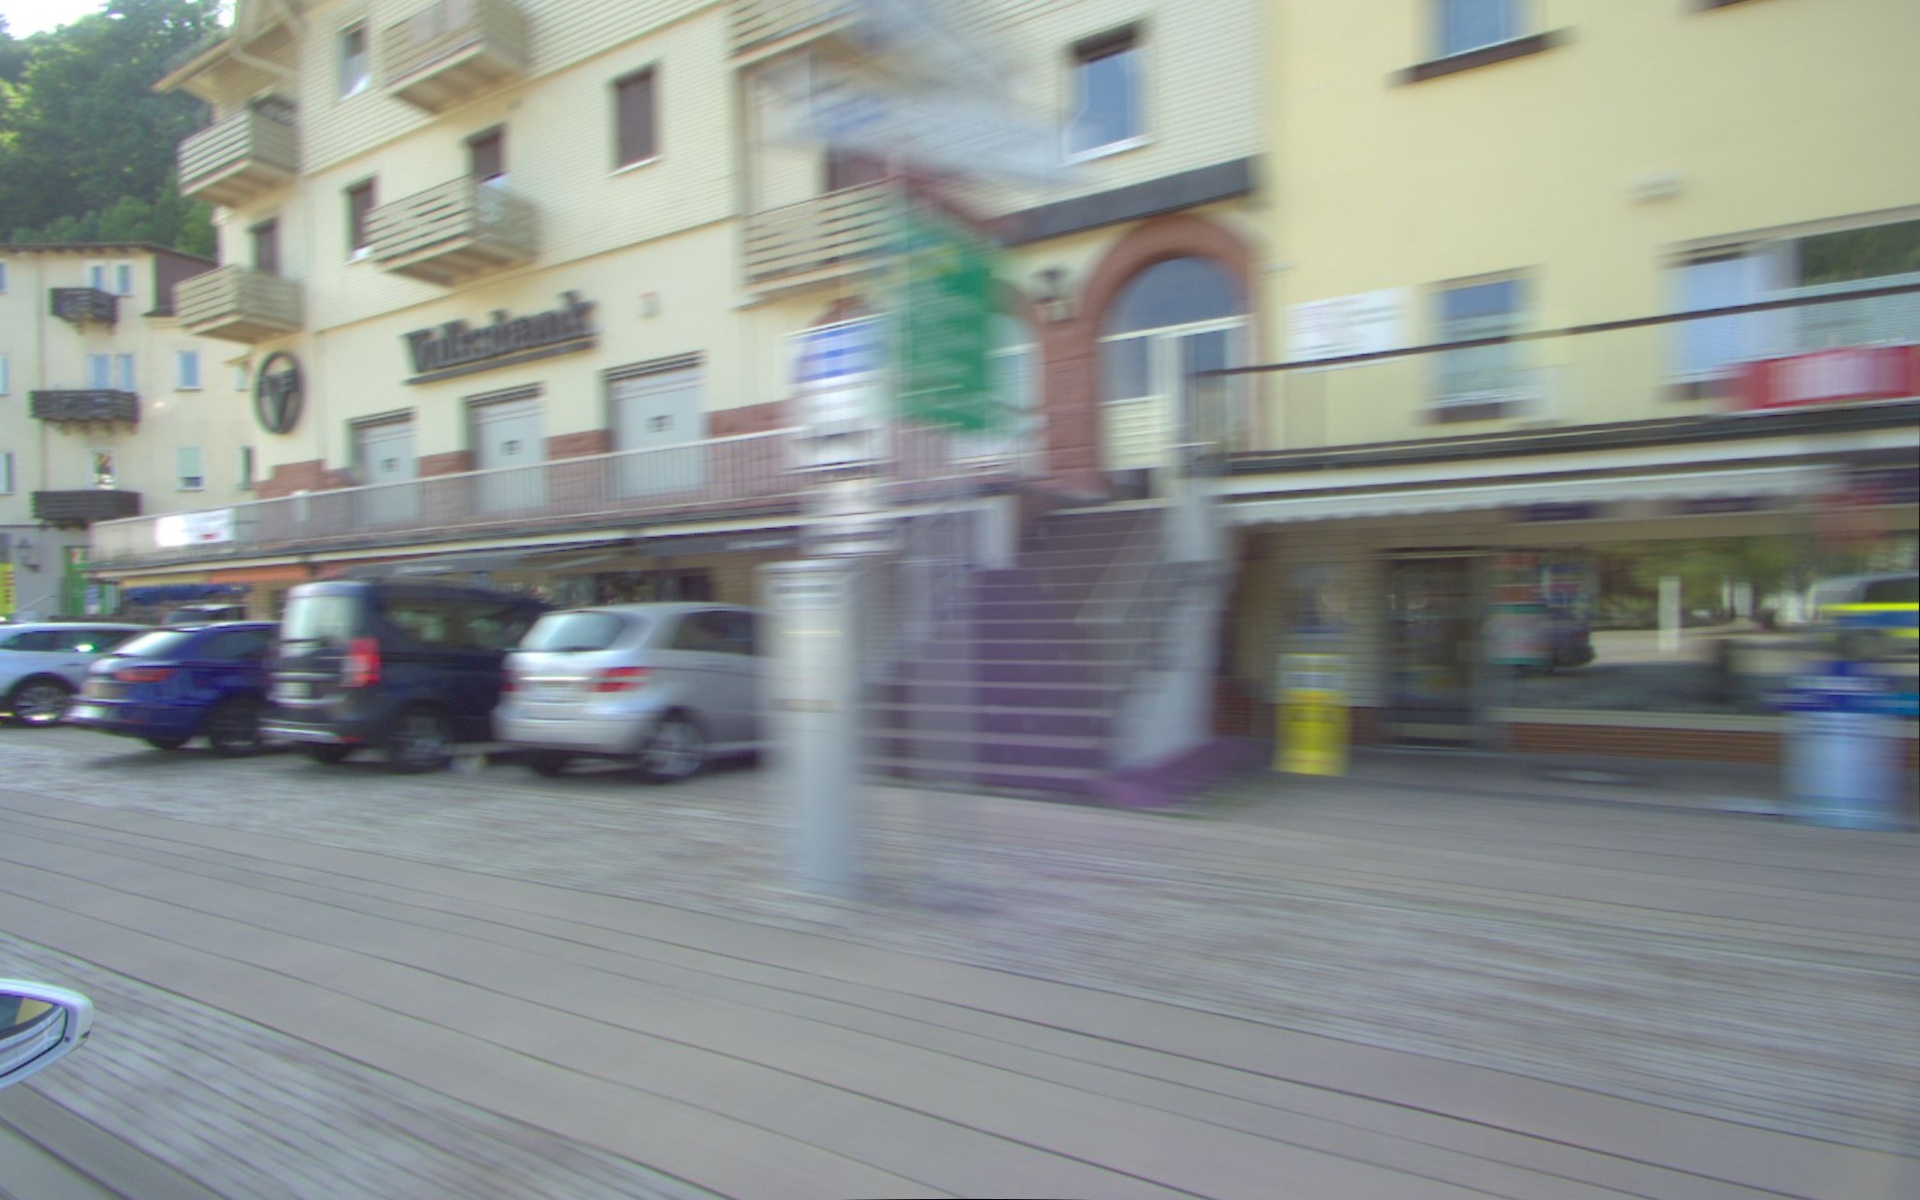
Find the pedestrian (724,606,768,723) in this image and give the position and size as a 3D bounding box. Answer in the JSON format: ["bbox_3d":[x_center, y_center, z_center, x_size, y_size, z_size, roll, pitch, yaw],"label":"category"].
[{"bbox_3d":[-3.134,0.937,14.673,0.427,1.681,0.456,-1,2,14],"label":"pedestrian"}]

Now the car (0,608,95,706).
[{"bbox_3d":[-17.756,0.959,17.150,1.747,1.686,4.080,0,-3,31],"label":"car"}]

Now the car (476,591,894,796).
[{"bbox_3d":[-2.497,0.829,10.029,1.749,1.609,3.905,0,-2,31],"label":"car"}]

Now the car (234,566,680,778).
[{"bbox_3d":[-5.149,0.746,10.792,1.831,1.826,3.906,-1,-4,31],"label":"car"}]

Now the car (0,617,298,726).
[{"bbox_3d":[-12.975,1.046,15.417,1.748,1.479,4.348,-2,-3,33],"label":"car"}]

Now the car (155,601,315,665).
[{"bbox_3d":[-20.161,0.861,28.064,1.738,1.631,3.921,1,0,-2],"label":"car"}]

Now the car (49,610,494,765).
[{"bbox_3d":[-7.753,0.950,11.676,1.711,1.479,3.906,-1,-3,31],"label":"car"}]

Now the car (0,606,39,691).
[{"bbox_3d":[-20.944,0.904,19.606,1.746,1.722,3.906,1,-3,31],"label":"car"}]
